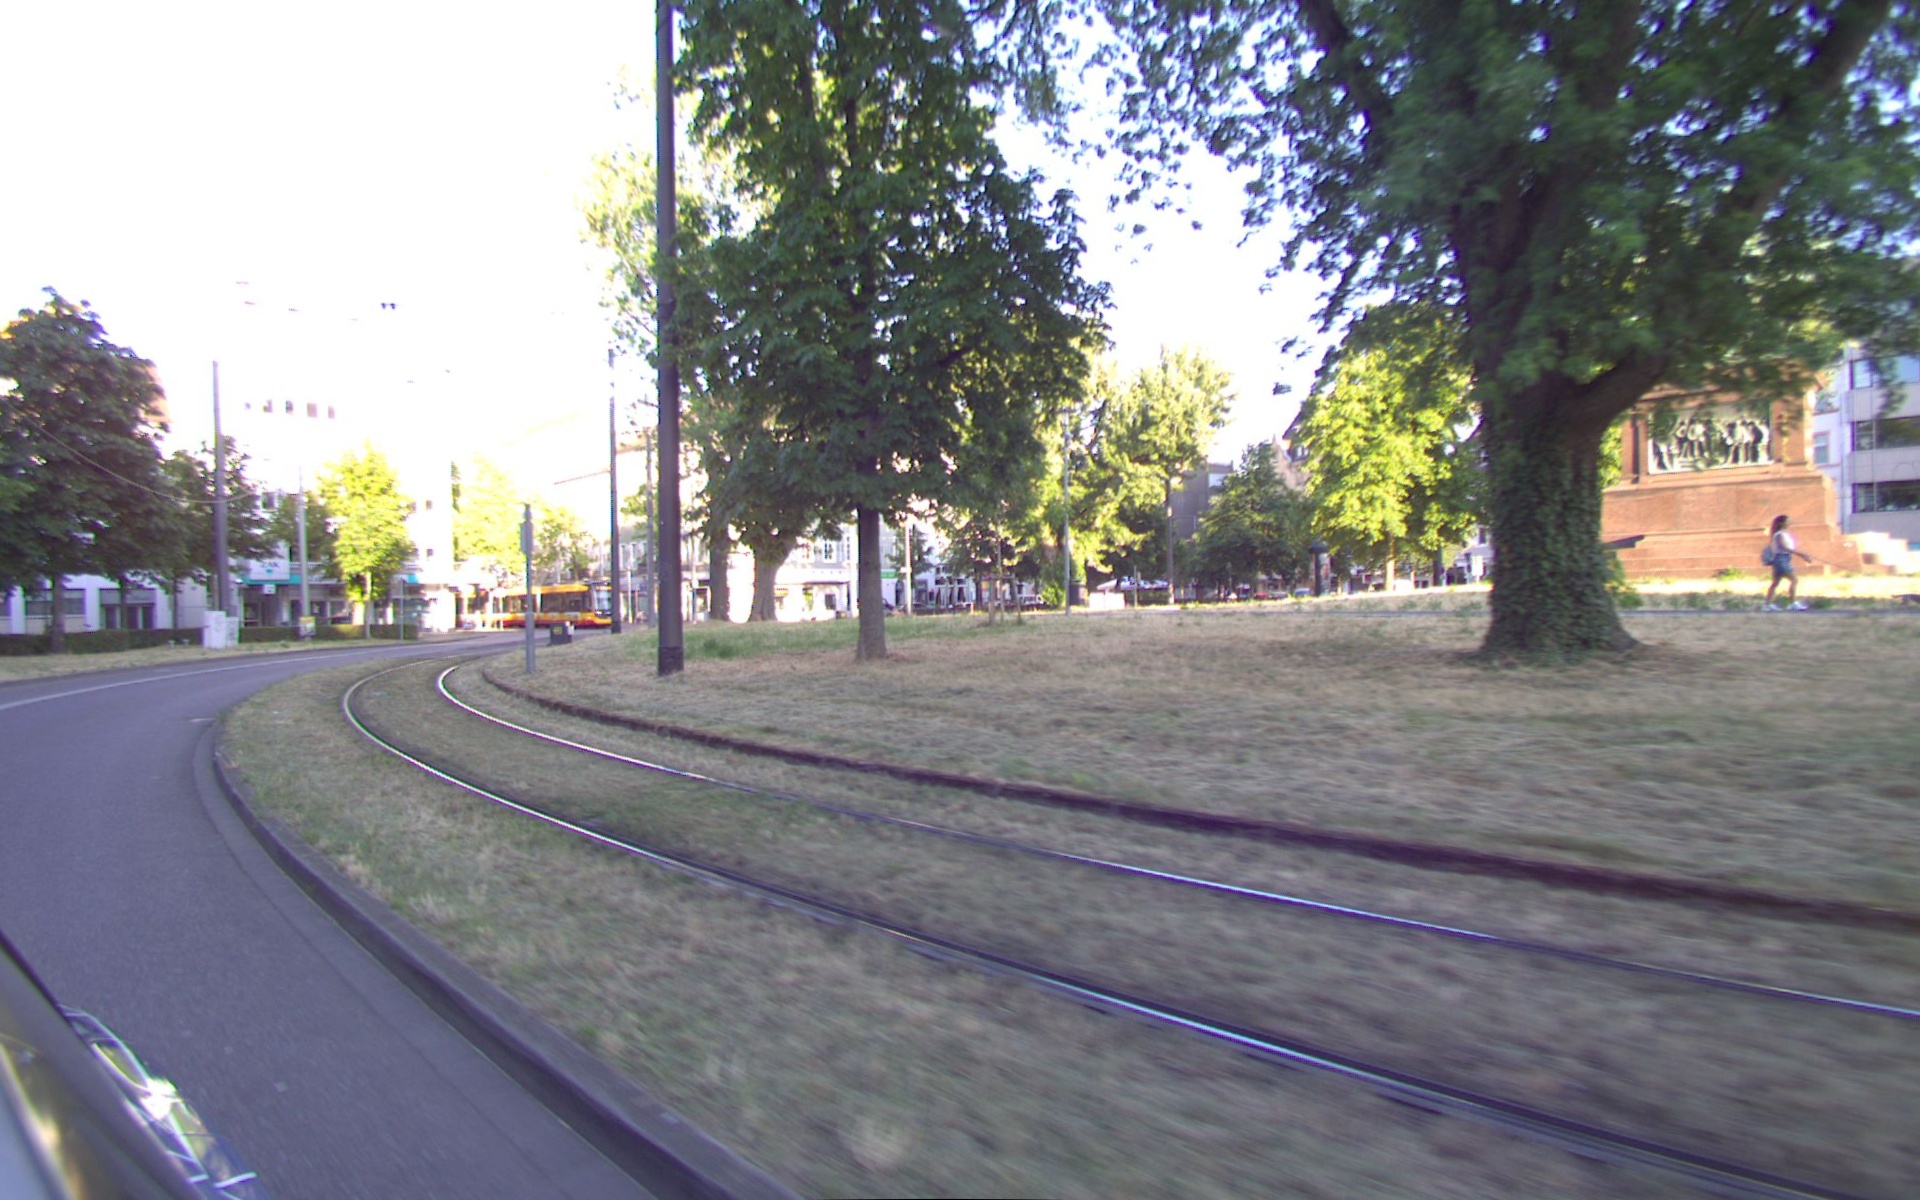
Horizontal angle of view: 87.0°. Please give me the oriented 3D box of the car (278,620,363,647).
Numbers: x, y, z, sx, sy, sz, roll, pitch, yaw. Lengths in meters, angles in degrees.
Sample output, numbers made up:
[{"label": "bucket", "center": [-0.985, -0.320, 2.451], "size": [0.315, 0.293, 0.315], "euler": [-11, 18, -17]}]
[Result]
[{"label": "car", "center": [-38.475, 1.993, 60.947], "size": [1.848, 1.461, 3.943], "euler": [-3, -1, 43]}]

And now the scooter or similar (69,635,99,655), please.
[{"label": "scooter or similar", "center": [-48.247, 2.484, 55.730], "size": [1.162, 1.040, 0.490], "euler": [-1, -1, -25]}]

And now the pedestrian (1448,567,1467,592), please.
[{"label": "pedestrian", "center": [34.852, -1.408, 70.931], "size": [0.786, 1.714, 0.803], "euler": [-1, -1, -20]}]

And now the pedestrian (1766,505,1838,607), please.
[{"label": "pedestrian", "center": [14.604, -0.743, 17.571], "size": [0.833, 1.703, 0.471], "euler": [-2, -1, 31]}]

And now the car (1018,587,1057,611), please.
[{"label": "car", "center": [7.724, -0.132, 100.364], "size": [1.859, 2.013, 3.947], "euler": [1, 5, 41]}]

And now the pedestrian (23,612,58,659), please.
[{"label": "pedestrian", "center": [-32.239, 1.237, 35.488], "size": [0.606, 1.638, 0.650], "euler": [-2, -1, 2]}]

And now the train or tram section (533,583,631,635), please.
[{"label": "train or tram section", "center": [-28.982, 0.680, 76.987], "size": [2.903, 3.611, 13.392], "euler": [-2, 0, -39]}]

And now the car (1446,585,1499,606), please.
[{"label": "car", "center": [44.680, -0.385, 88.336], "size": [1.767, 1.592, 4.012], "euler": [-2, -1, -19]}]

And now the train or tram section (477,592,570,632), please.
[{"label": "train or tram section", "center": [-37.660, 1.051, 86.949], "size": [2.889, 3.165, 12.866], "euler": [-2, 0, -44]}]

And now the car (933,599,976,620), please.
[{"label": "car", "center": [-0.541, 0.935, 97.736], "size": [1.999, 1.918, 3.945], "euler": [-3, -2, 41]}]

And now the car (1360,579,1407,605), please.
[{"label": "car", "center": [35.097, -0.653, 83.824], "size": [3.939, 2.029, 2.002], "euler": [-1, -2, -42]}]
